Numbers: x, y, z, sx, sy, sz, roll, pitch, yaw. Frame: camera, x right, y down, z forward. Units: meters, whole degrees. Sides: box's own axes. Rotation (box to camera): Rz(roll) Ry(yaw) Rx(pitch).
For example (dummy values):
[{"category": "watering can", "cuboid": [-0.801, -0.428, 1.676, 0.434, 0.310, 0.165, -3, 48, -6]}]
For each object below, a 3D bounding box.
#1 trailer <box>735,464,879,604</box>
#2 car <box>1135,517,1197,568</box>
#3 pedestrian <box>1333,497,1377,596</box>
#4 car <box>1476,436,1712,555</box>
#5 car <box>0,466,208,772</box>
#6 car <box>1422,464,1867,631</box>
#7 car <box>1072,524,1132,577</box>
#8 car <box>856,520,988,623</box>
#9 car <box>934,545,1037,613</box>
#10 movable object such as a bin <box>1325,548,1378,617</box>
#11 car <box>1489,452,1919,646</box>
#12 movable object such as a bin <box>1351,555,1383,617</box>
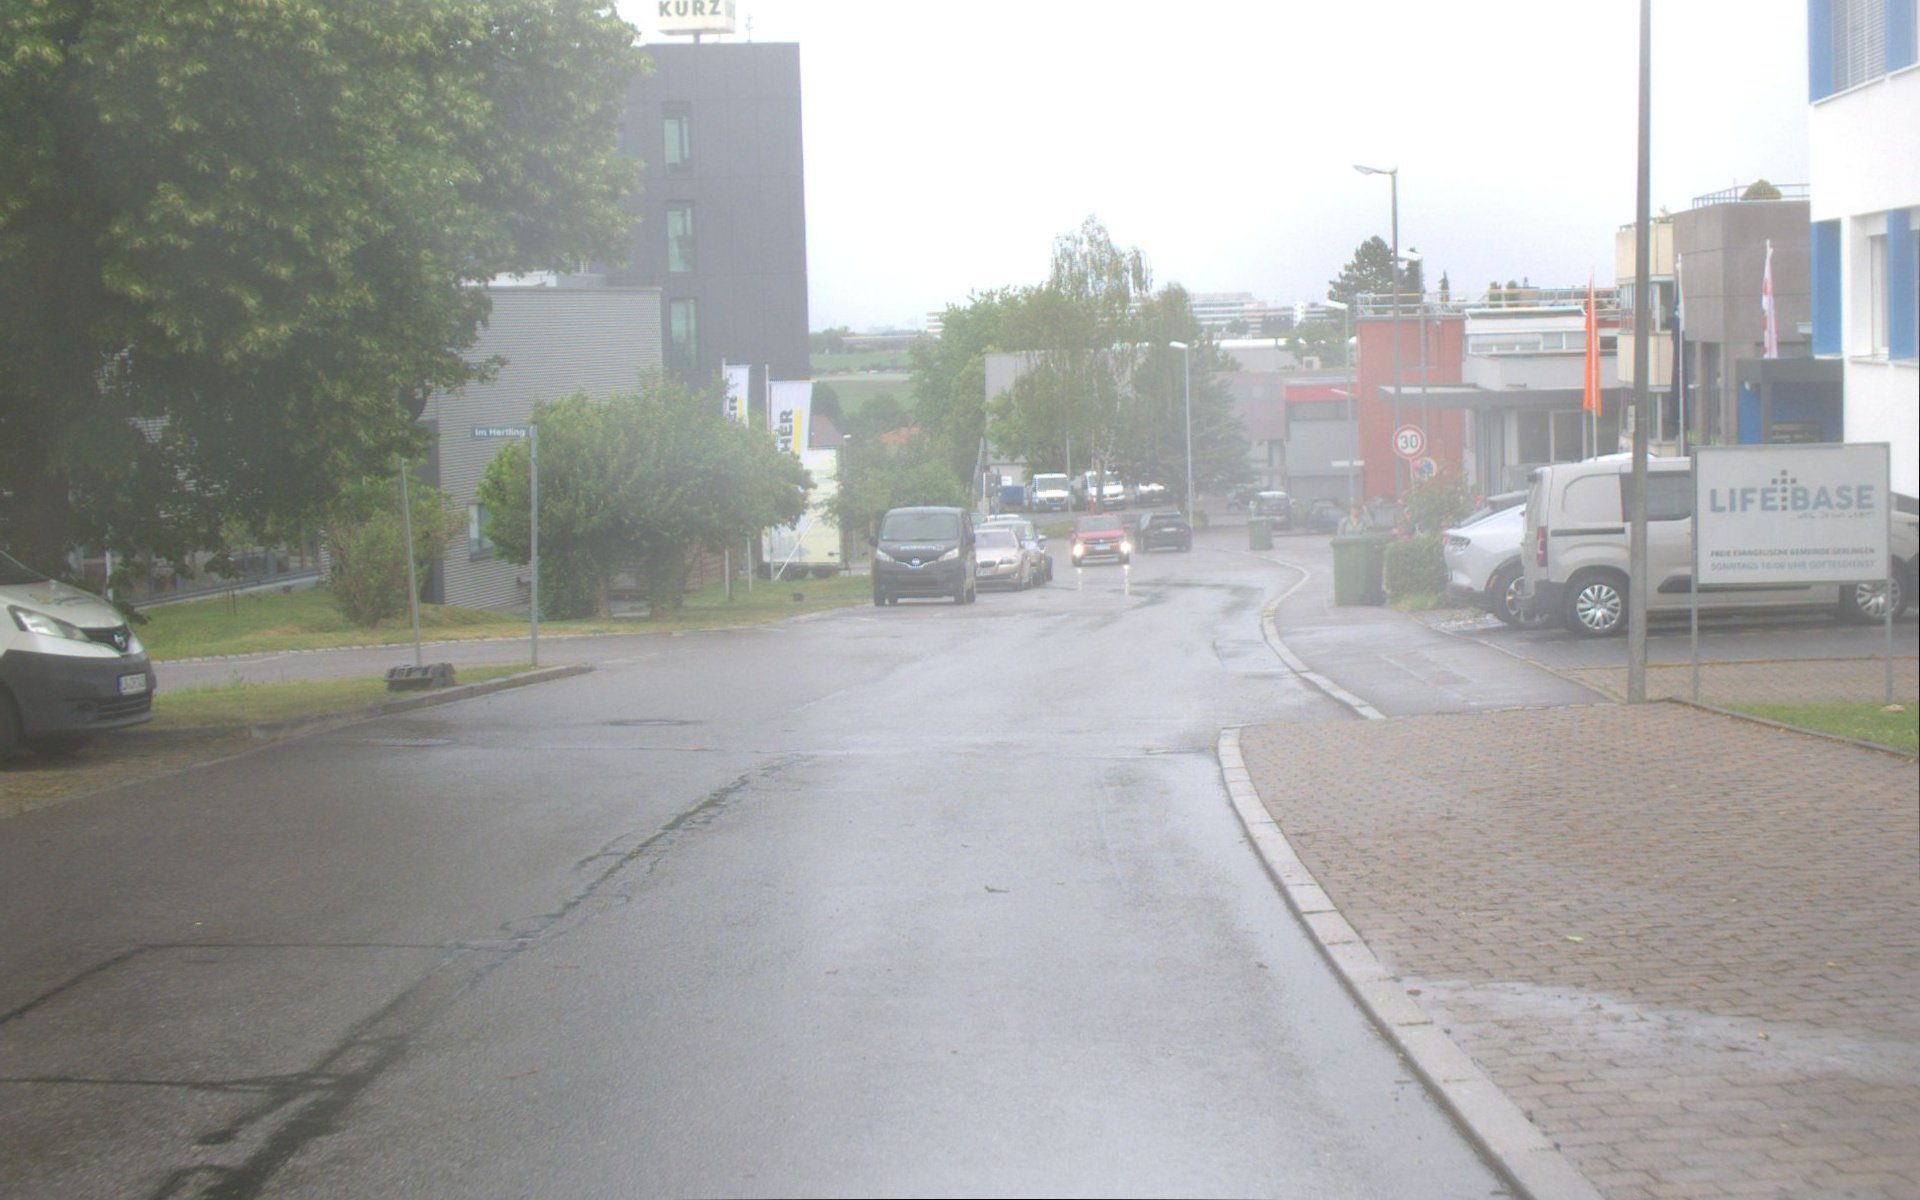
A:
[{"category": "trailer", "cuboid": [-4.838, -2.069, 108.438, 4.183, 4.188, 2.001, -2, 1, 43]}, {"category": "car", "cuboid": [7.336, -2.030, 122.753, 1.956, 1.670, 4.472, -2, 0, 1]}, {"category": "pedestrian", "cuboid": [7.159, -0.963, 62.277, 0.737, 1.761, 0.808, -2, 0, 6]}, {"category": "car", "cuboid": [15.621, -2.561, 84.969, 5.299, 2.006, 2.221, -10, 0, 5]}, {"category": "car", "cuboid": [-7.412, 0.179, 22.805, 4.301, 1.899, 1.861, -2, 0, 8]}, {"category": "car", "cuboid": [7.617, -0.588, 38.653, 4.597, 1.533, 2.079, -4, 1, 5]}, {"category": "car", "cuboid": [4.528, -1.554, 109.766, 1.747, 1.503, 3.935, -4, 0, 2]}, {"category": "car", "cuboid": [-0.673, -0.557, 65.092, 1.916, 1.825, 4.847, -2, 1, 6]}, {"category": "car", "cuboid": [0.627, -0.511, 79.678, 1.956, 1.456, 5.247, -2, 1, 5]}, {"category": "movable object such as a bin", "cuboid": [5.996, -0.269, 52.683, 0.772, 1.026, 0.808, -2, 1, 6]}, {"category": "car", "cuboid": [7.797, -0.536, 35.545, 4.341, 1.767, 2.089, -2, 1, 3]}, {"category": "movable object such as a bin", "cuboid": [6.419, -0.224, 54.254, 0.472, 0.964, 0.514, -2, 1, 6]}]
